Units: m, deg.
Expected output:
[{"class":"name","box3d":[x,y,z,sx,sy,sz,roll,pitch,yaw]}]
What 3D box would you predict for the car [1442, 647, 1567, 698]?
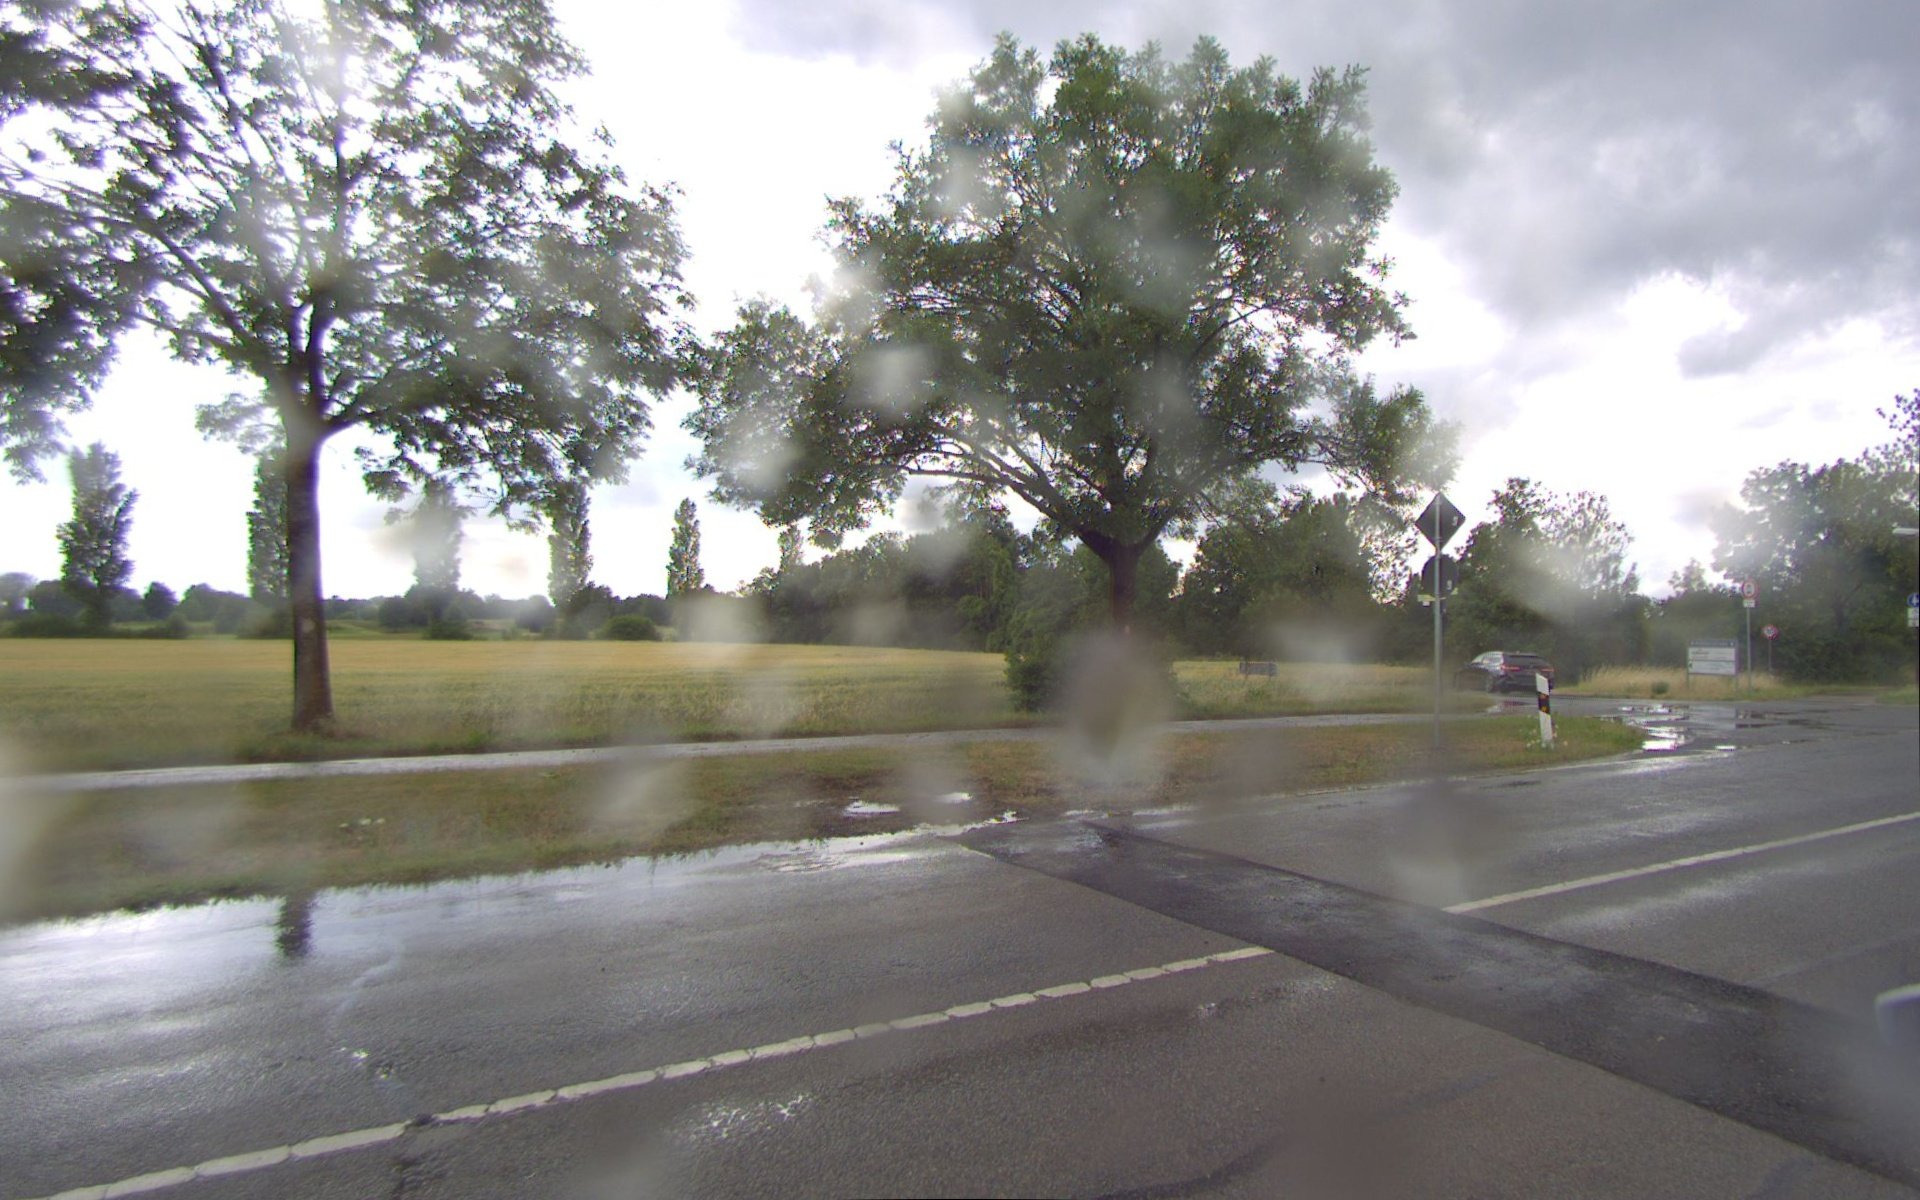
[{"class":"car","box3d":[19.190,2.515,35.669,2.263,1.567,4.635,0,-2,5]}]
